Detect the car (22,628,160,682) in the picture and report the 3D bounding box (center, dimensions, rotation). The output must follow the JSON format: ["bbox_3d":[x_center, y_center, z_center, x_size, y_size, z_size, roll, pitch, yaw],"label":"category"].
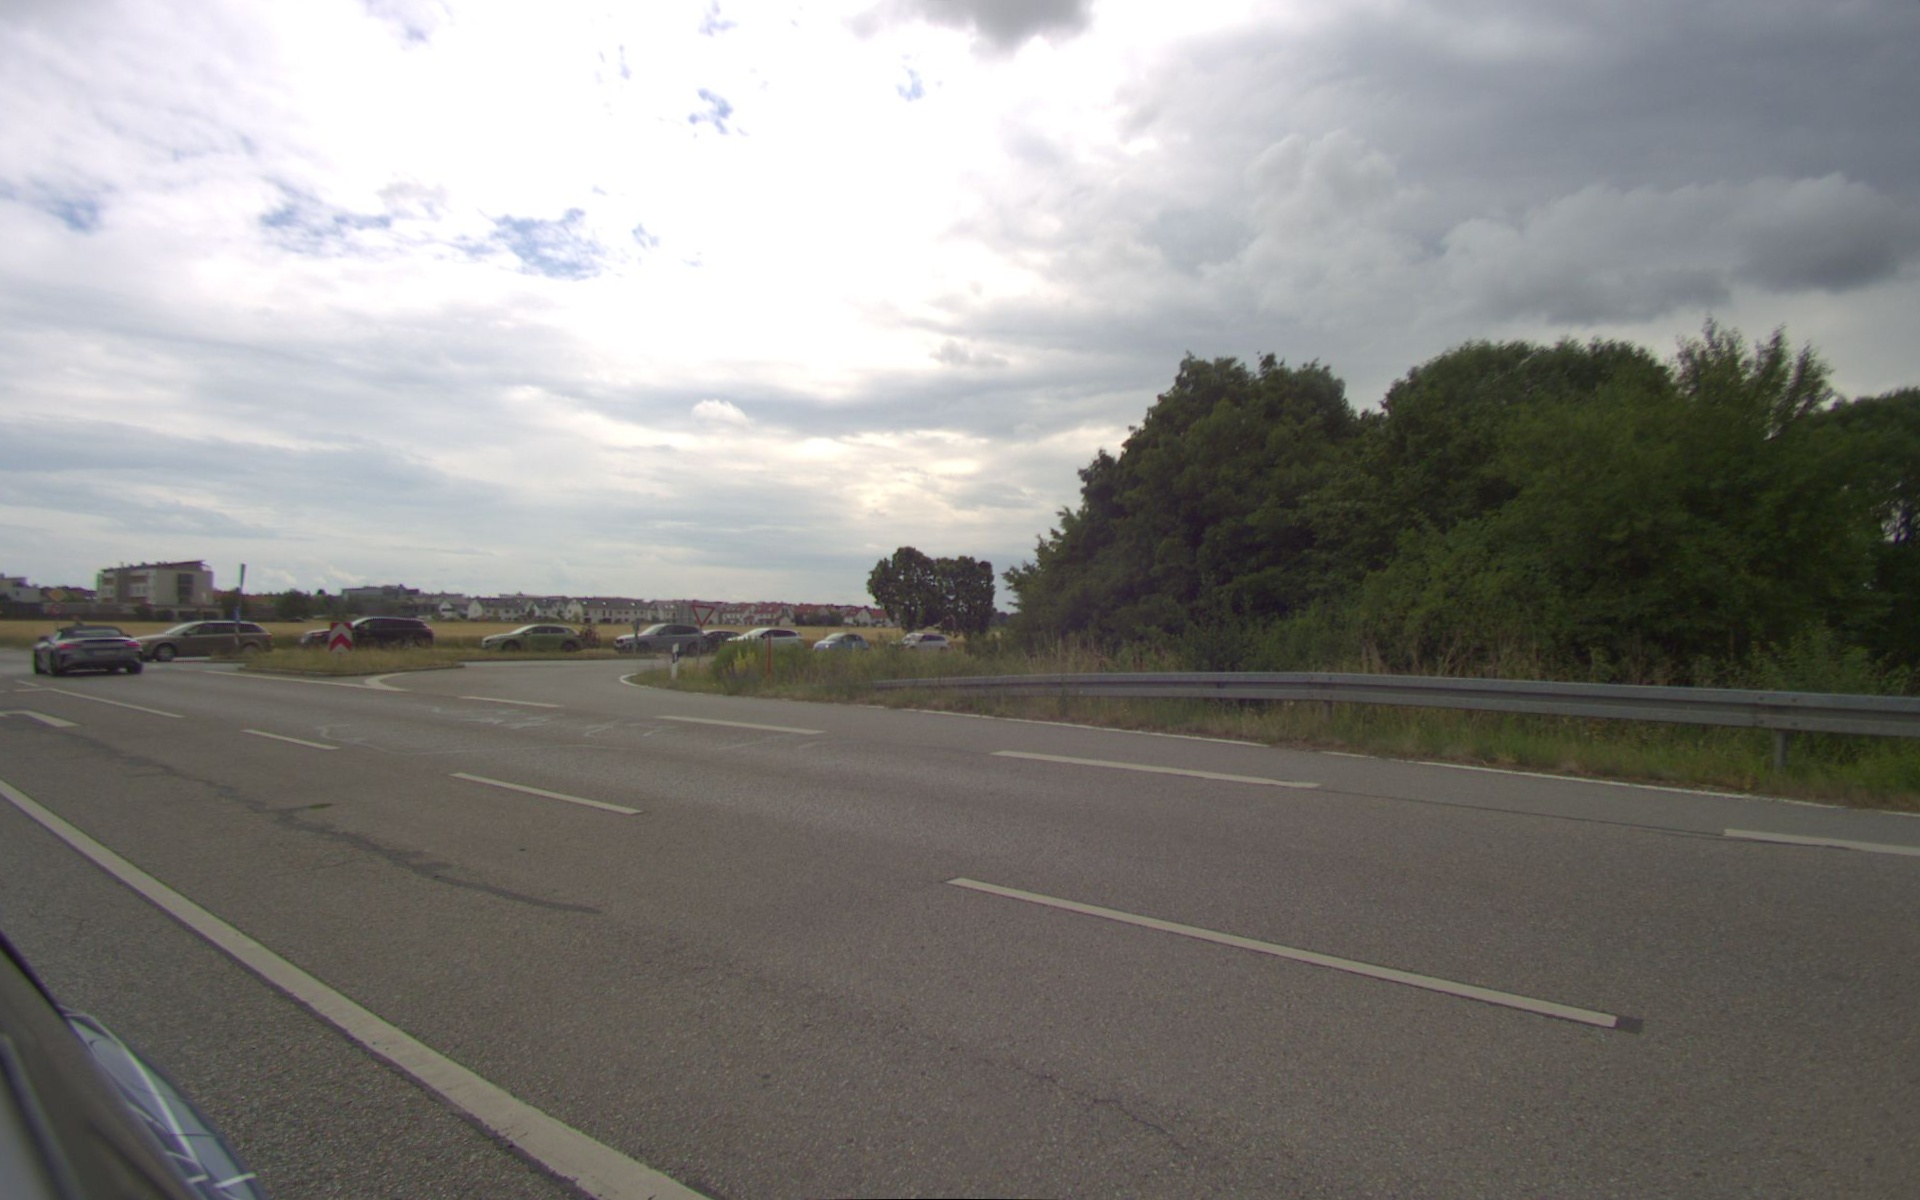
[{"bbox_3d":[-23.625,1.429,27.463,4.233,1.294,2.143,-1,-1,39],"label":"car"}]

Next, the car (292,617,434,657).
[{"bbox_3d":[-24.326,1.499,41.334,4.684,1.543,1.912,2,-2,-44],"label":"car"}]

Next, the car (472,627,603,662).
[{"bbox_3d":[-19.422,2.010,46.702,5.223,1.533,1.912,2,-2,-44],"label":"car"}]

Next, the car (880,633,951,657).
[{"bbox_3d":[-2.756,2.816,63.901,1.911,1.493,4.442,-1,-2,43],"label":"car"}]

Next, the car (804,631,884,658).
[{"bbox_3d":[-6.805,2.605,59.518,4.438,1.493,1.912,2,-2,-44],"label":"car"}]

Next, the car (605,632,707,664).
[{"bbox_3d":[-15.276,2.382,51.002,4.570,1.528,1.912,2,-2,-44],"label":"car"}]

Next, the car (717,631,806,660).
[{"bbox_3d":[-10.778,2.462,55.194,4.438,1.493,1.912,2,-2,-44],"label":"car"}]

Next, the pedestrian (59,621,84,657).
[{"bbox_3d":[-40.874,1.777,46.553,0.865,1.617,0.587,-1,-5,37],"label":"pedestrian"}]

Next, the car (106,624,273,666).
[{"bbox_3d":[-27.768,1.590,36.637,1.905,1.435,4.417,-1,-2,32],"label":"car"}]
